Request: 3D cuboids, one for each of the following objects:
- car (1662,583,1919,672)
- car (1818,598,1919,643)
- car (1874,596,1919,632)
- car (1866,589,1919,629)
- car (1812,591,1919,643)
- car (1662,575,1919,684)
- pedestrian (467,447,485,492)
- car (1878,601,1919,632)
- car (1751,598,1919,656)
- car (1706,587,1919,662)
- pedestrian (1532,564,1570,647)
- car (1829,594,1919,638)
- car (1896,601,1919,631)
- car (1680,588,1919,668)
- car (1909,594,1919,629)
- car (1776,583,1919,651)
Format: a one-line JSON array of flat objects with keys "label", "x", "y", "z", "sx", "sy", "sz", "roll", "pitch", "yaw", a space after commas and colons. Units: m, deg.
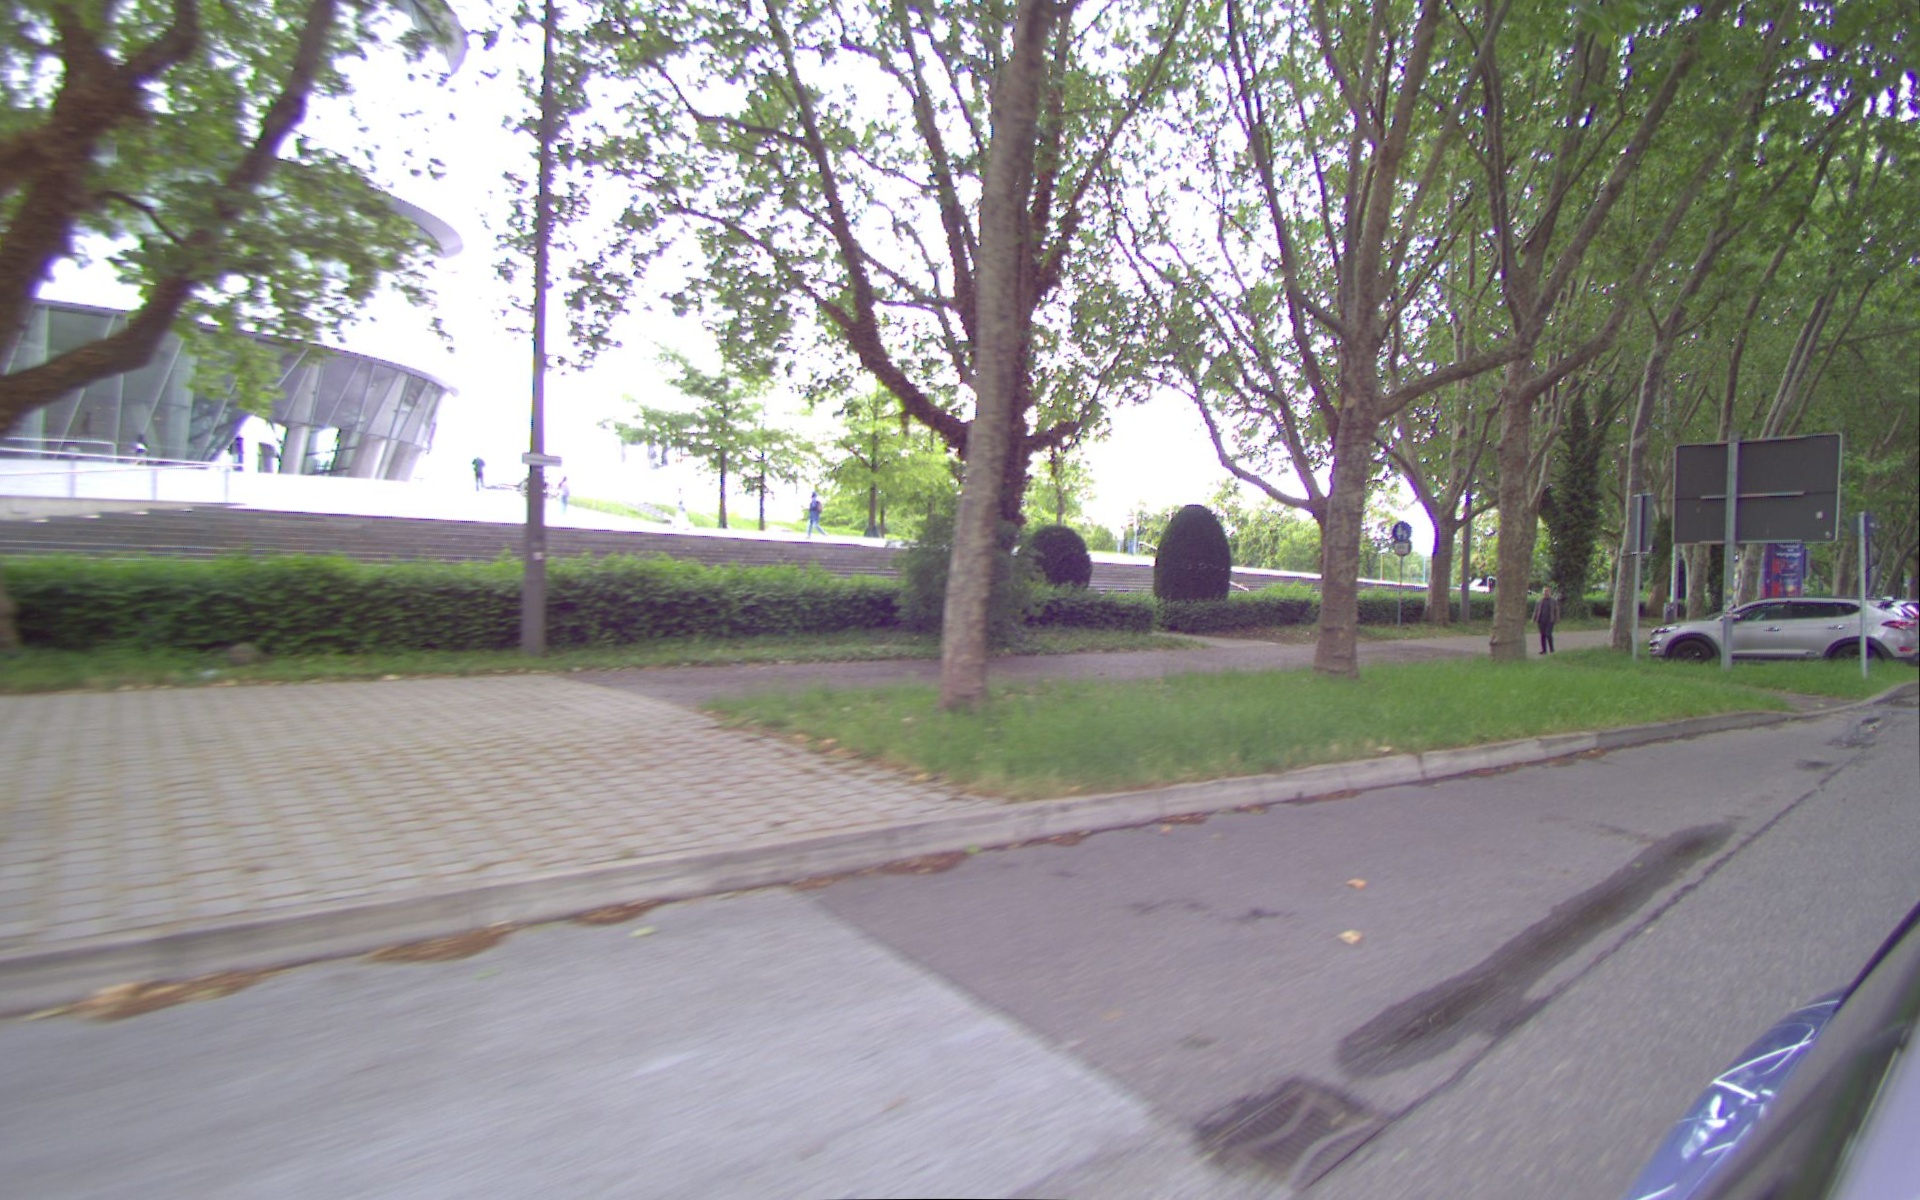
[{"label": "car", "x": 17.380, "y": 0.508, "z": 20.954, "sx": 1.892, "sy": 1.654, "sz": 4.353, "roll": 1, "pitch": 0, "yaw": -41}, {"label": "car", "x": 31.893, "y": 0.685, "z": 34.280, "sx": 1.697, "sy": 1.476, "sz": 4.155, "roll": 0, "pitch": 0, "yaw": -41}, {"label": "car", "x": 42.355, "y": 0.630, "z": 43.475, "sx": 1.890, "sy": 1.521, "sz": 4.356, "roll": 1, "pitch": 0, "yaw": -39}, {"label": "car", "x": 44.676, "y": 0.422, "z": 46.299, "sx": 2.010, "sy": 1.819, "sz": 4.507, "roll": 1, "pitch": 0, "yaw": -38}, {"label": "car", "x": 33.458, "y": 0.598, "z": 36.263, "sx": 1.806, "sy": 1.768, "sz": 4.350, "roll": 1, "pitch": 0, "yaw": -43}, {"label": "car", "x": 17.271, "y": 0.546, "z": 21.094, "sx": 1.965, "sy": 2.039, "sz": 3.993, "roll": 1, "pitch": 0, "yaw": -41}, {"label": "pedestrian", "x": -20.291, "y": -5.465, "z": 42.417, "sx": 0.667, "sy": 1.787, "sz": 0.838, "roll": 0, "pitch": 1, "yaw": -26}, {"label": "car", "x": 46.257, "y": 0.777, "z": 47.502, "sx": 1.796, "sy": 1.437, "sz": 4.504, "roll": 0, "pitch": 0, "yaw": -40}, {"label": "car", "x": 24.539, "y": 0.701, "z": 27.677, "sx": 1.916, "sy": 1.474, "sz": 4.350, "roll": 1, "pitch": 0, "yaw": -43}, {"label": "car", "x": 20.784, "y": 0.530, "z": 24.303, "sx": 1.892, "sy": 1.654, "sz": 4.353, "roll": 1, "pitch": 0, "yaw": -41}, {"label": "pedestrian", "x": 14.824, "y": 0.128, "z": 25.385, "sx": 0.781, "sy": 2.039, "sz": 0.592, "roll": 1, "pitch": 1, "yaw": 32}, {"label": "car", "x": 37.083, "y": 0.639, "z": 39.500, "sx": 1.839, "sy": 1.660, "sz": 4.601, "roll": 1, "pitch": 0, "yaw": -40}, {"label": "car", "x": 48.253, "y": 0.788, "z": 48.751, "sx": 1.898, "sy": 1.446, "sz": 4.503, "roll": 0, "pitch": 0, "yaw": -41}, {"label": "car", "x": 19.129, "y": 0.569, "z": 22.863, "sx": 1.892, "sy": 1.625, "sz": 4.353, "roll": 1, "pitch": 0, "yaw": -41}, {"label": "car", "x": 51.722, "y": 0.641, "z": 51.774, "sx": 2.012, "sy": 1.819, "sz": 4.501, "roll": 1, "pitch": 0, "yaw": -42}, {"label": "car", "x": 26.398, "y": 0.463, "z": 29.085, "sx": 1.893, "sy": 1.782, "sz": 4.352, "roll": 0, "pitch": 2, "yaw": -43}]
